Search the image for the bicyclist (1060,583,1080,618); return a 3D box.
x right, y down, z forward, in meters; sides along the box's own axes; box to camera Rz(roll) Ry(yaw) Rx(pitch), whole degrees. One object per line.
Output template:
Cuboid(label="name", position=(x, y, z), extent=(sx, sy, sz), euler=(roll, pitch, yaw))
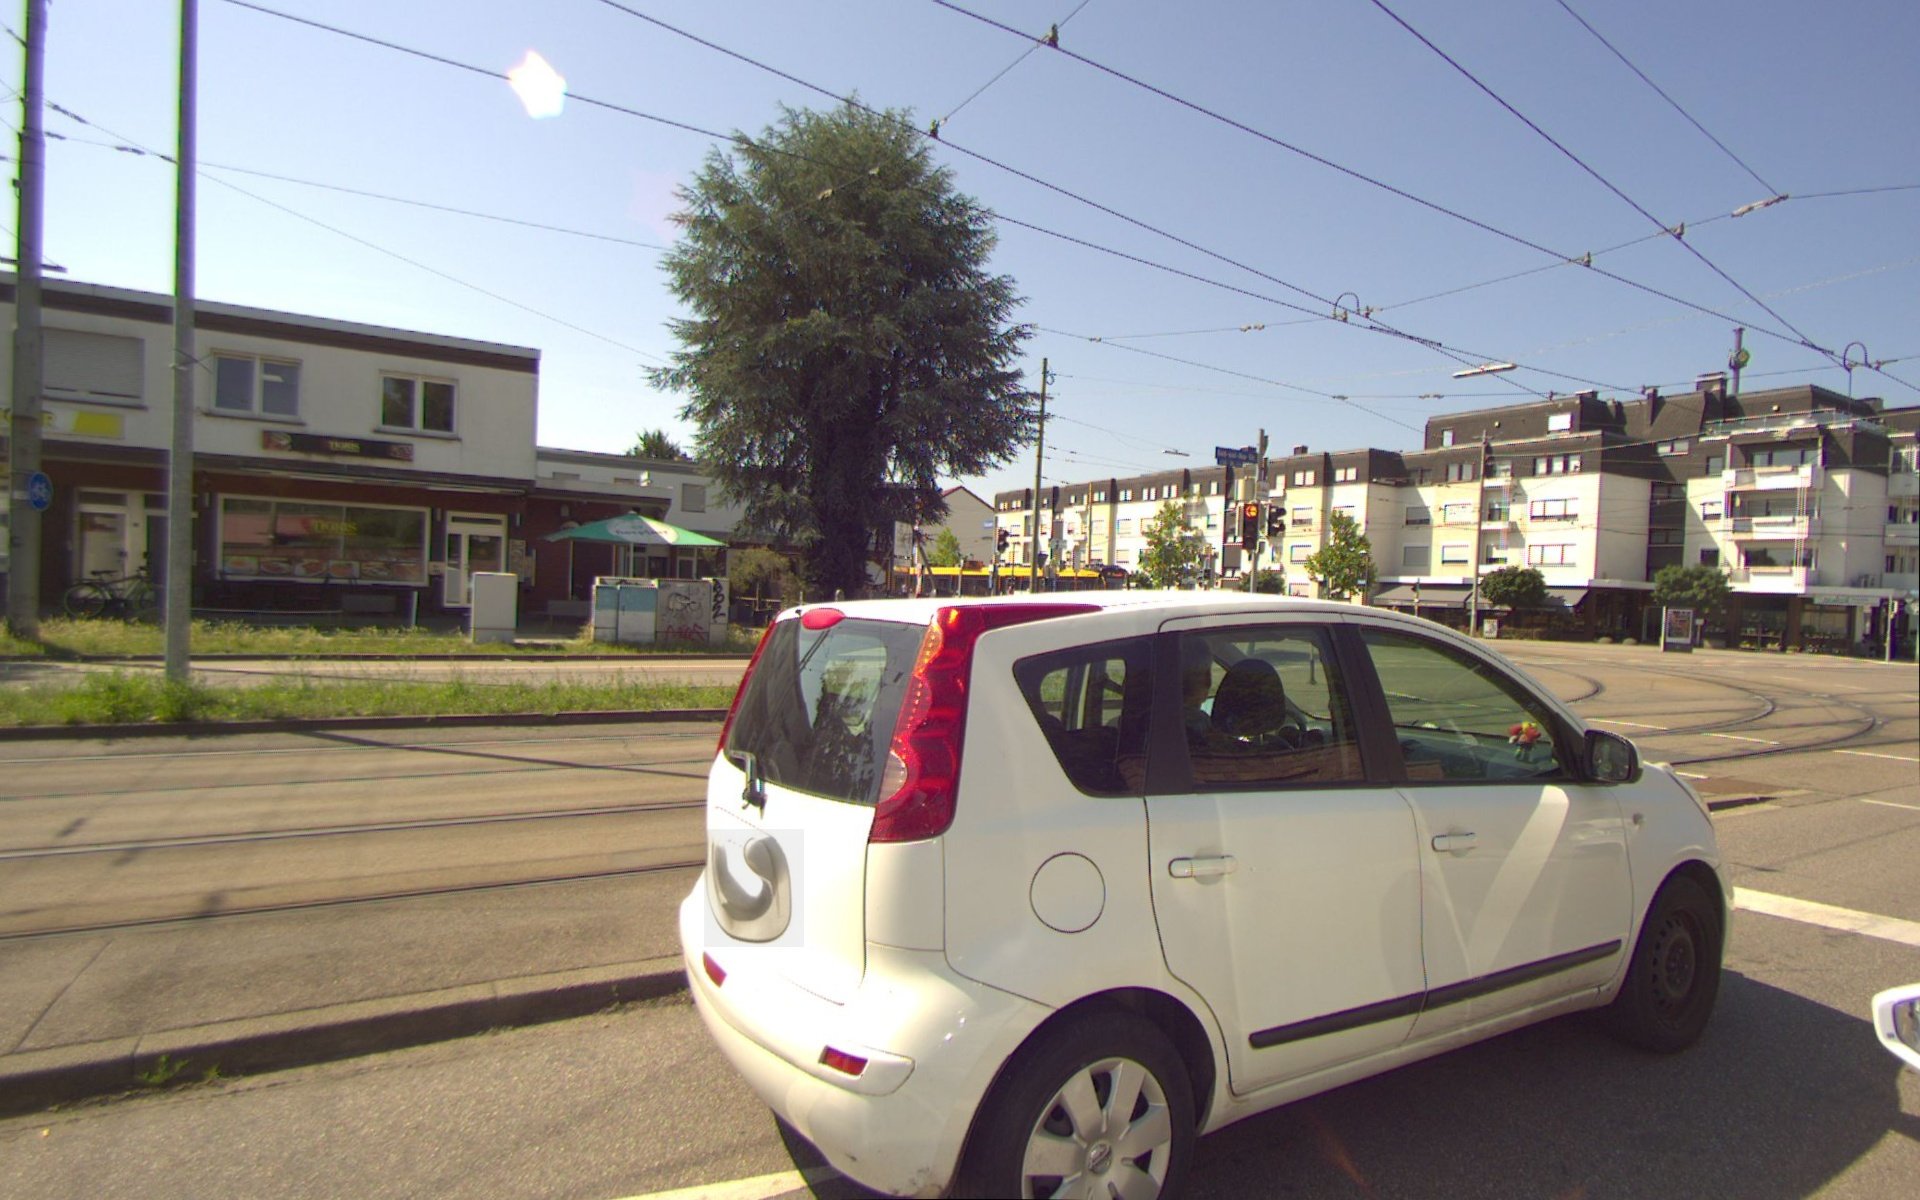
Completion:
Cuboid(label="bicyclist", position=(5.056, 0.032, 46.267), extent=(0.621, 1.579, 0.764), euler=(2, -1, -14))

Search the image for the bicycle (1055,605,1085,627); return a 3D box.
Cuboid(label="bicycle", position=(5.053, 0.736, 46.377), extent=(0.527, 0.959, 2.128), euler=(2, 0, -17))

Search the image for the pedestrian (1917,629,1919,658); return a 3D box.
Cuboid(label="pedestrian", position=(54.554, 2.479, 56.461), extent=(0.667, 1.669, 0.881), euler=(2, 1, 10))

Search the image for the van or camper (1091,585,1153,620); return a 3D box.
Cuboid(label="van or camper", position=(13.154, 0.155, 81.798), extent=(2.349, 2.659, 4.850), euler=(2, 0, -31))

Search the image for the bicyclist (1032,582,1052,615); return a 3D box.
Cuboid(label="bicyclist", position=(4.027, -0.062, 49.242), extent=(0.623, 1.596, 0.761), euler=(2, 1, -24))

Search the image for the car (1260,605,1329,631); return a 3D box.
Cuboid(label="car", position=(22.097, 1.162, 66.554), extent=(1.807, 1.520, 4.152), euler=(2, 0, -30))

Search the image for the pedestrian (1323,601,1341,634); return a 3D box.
Cuboid(label="pedestrian", position=(20.979, 0.969, 56.595), extent=(0.795, 1.783, 0.764), euler=(2, 0, 14))

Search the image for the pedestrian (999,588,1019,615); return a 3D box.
Cuboid(label="pedestrian", position=(3.269, 0.095, 66.775), extent=(0.804, 1.703, 1.085), euler=(2, 1, -30))

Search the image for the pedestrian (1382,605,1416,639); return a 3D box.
Cuboid(label="pedestrian", position=(24.654, 1.226, 56.423), extent=(1.410, 1.860, 1.123), euler=(2, 0, 4))

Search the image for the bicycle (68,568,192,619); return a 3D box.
Cuboid(label="bicycle", position=(-17.476, -0.130, 21.204), extent=(1.889, 0.996, 0.754), euler=(2, 0, -30))

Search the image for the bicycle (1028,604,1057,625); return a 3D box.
Cuboid(label="bicycle", position=(4.022, 0.703, 49.217), extent=(0.567, 0.902, 2.126), euler=(2, 0, -20))

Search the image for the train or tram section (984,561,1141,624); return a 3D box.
Cuboid(label="train or tram section", position=(6.401, -0.581, 66.790), extent=(2.736, 3.707, 13.796), euler=(2, 0, -30))

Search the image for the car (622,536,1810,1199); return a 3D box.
Cuboid(label="car", position=(1.067, 0.739, 3.579), extent=(4.019, 1.582, 1.758), euler=(2, -1, -30))

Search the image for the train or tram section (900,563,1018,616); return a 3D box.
Cuboid(label="train or tram section", position=(-0.386, -0.911, 78.771), extent=(2.736, 3.707, 13.796), euler=(2, 0, -30))

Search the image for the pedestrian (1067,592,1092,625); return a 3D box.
Cuboid(label="pedestrian", position=(7.104, 0.505, 59.674), extent=(0.886, 1.862, 1.192), euler=(2, 1, -30))
